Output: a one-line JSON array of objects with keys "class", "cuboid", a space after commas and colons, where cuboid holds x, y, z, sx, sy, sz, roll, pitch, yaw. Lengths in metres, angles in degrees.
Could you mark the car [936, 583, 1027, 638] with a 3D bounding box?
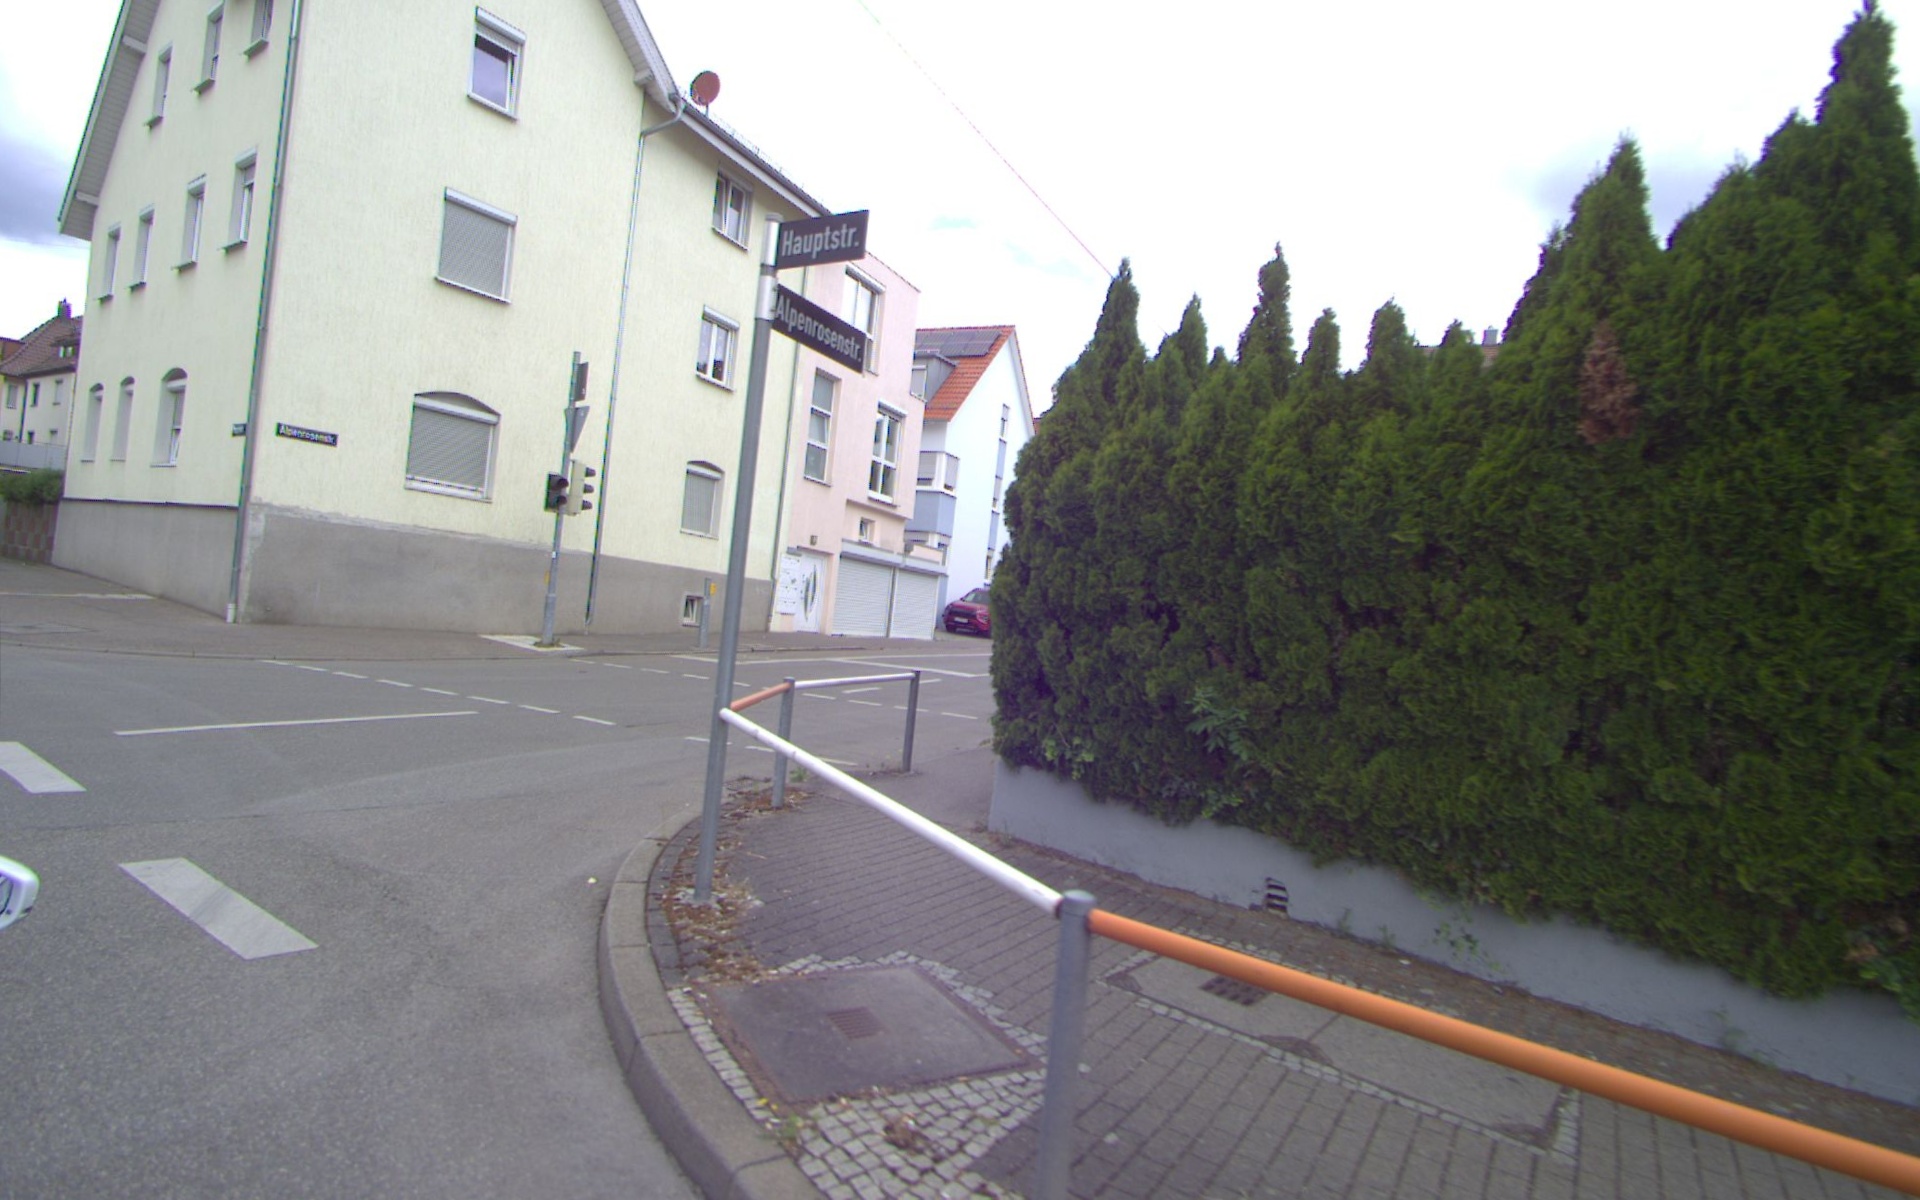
[{"class": "car", "cuboid": [0.823, 0.409, 36.076, 1.760, 1.614, 3.618, 7, 1, 26]}]
